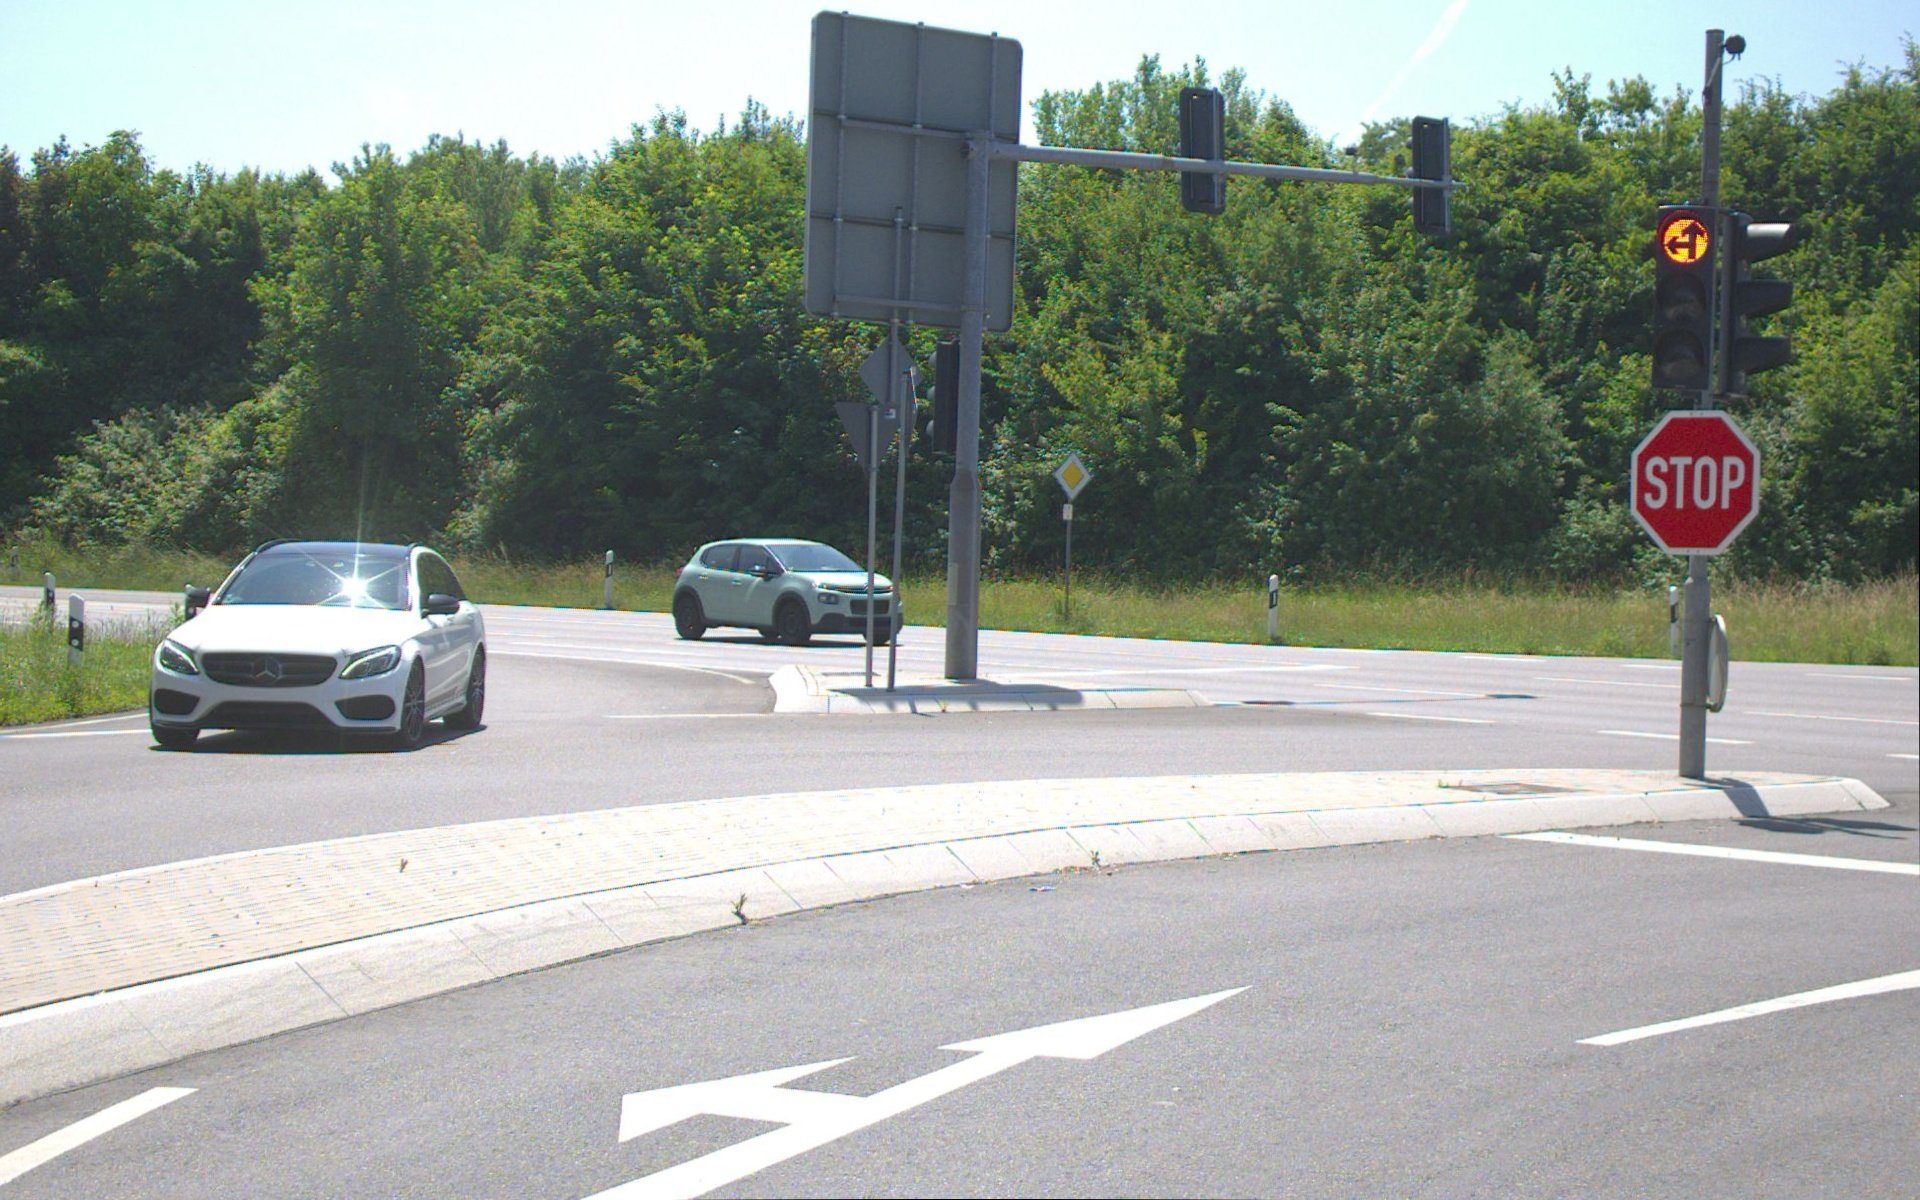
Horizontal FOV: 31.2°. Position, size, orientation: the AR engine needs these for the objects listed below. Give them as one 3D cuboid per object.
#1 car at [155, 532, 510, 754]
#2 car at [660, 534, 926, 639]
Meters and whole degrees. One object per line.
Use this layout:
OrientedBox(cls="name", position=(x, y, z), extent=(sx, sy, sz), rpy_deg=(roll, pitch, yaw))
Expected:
OrientedBox(cls="car", position=(-4.606, 0.241, 25.992), extent=(1.804, 1.407, 5.335), rpy_deg=(2, 1, -2))
OrientedBox(cls="car", position=(-2.460, -0.231, 49.808), extent=(1.730, 1.399, 3.985), rpy_deg=(-1, 2, -42))
